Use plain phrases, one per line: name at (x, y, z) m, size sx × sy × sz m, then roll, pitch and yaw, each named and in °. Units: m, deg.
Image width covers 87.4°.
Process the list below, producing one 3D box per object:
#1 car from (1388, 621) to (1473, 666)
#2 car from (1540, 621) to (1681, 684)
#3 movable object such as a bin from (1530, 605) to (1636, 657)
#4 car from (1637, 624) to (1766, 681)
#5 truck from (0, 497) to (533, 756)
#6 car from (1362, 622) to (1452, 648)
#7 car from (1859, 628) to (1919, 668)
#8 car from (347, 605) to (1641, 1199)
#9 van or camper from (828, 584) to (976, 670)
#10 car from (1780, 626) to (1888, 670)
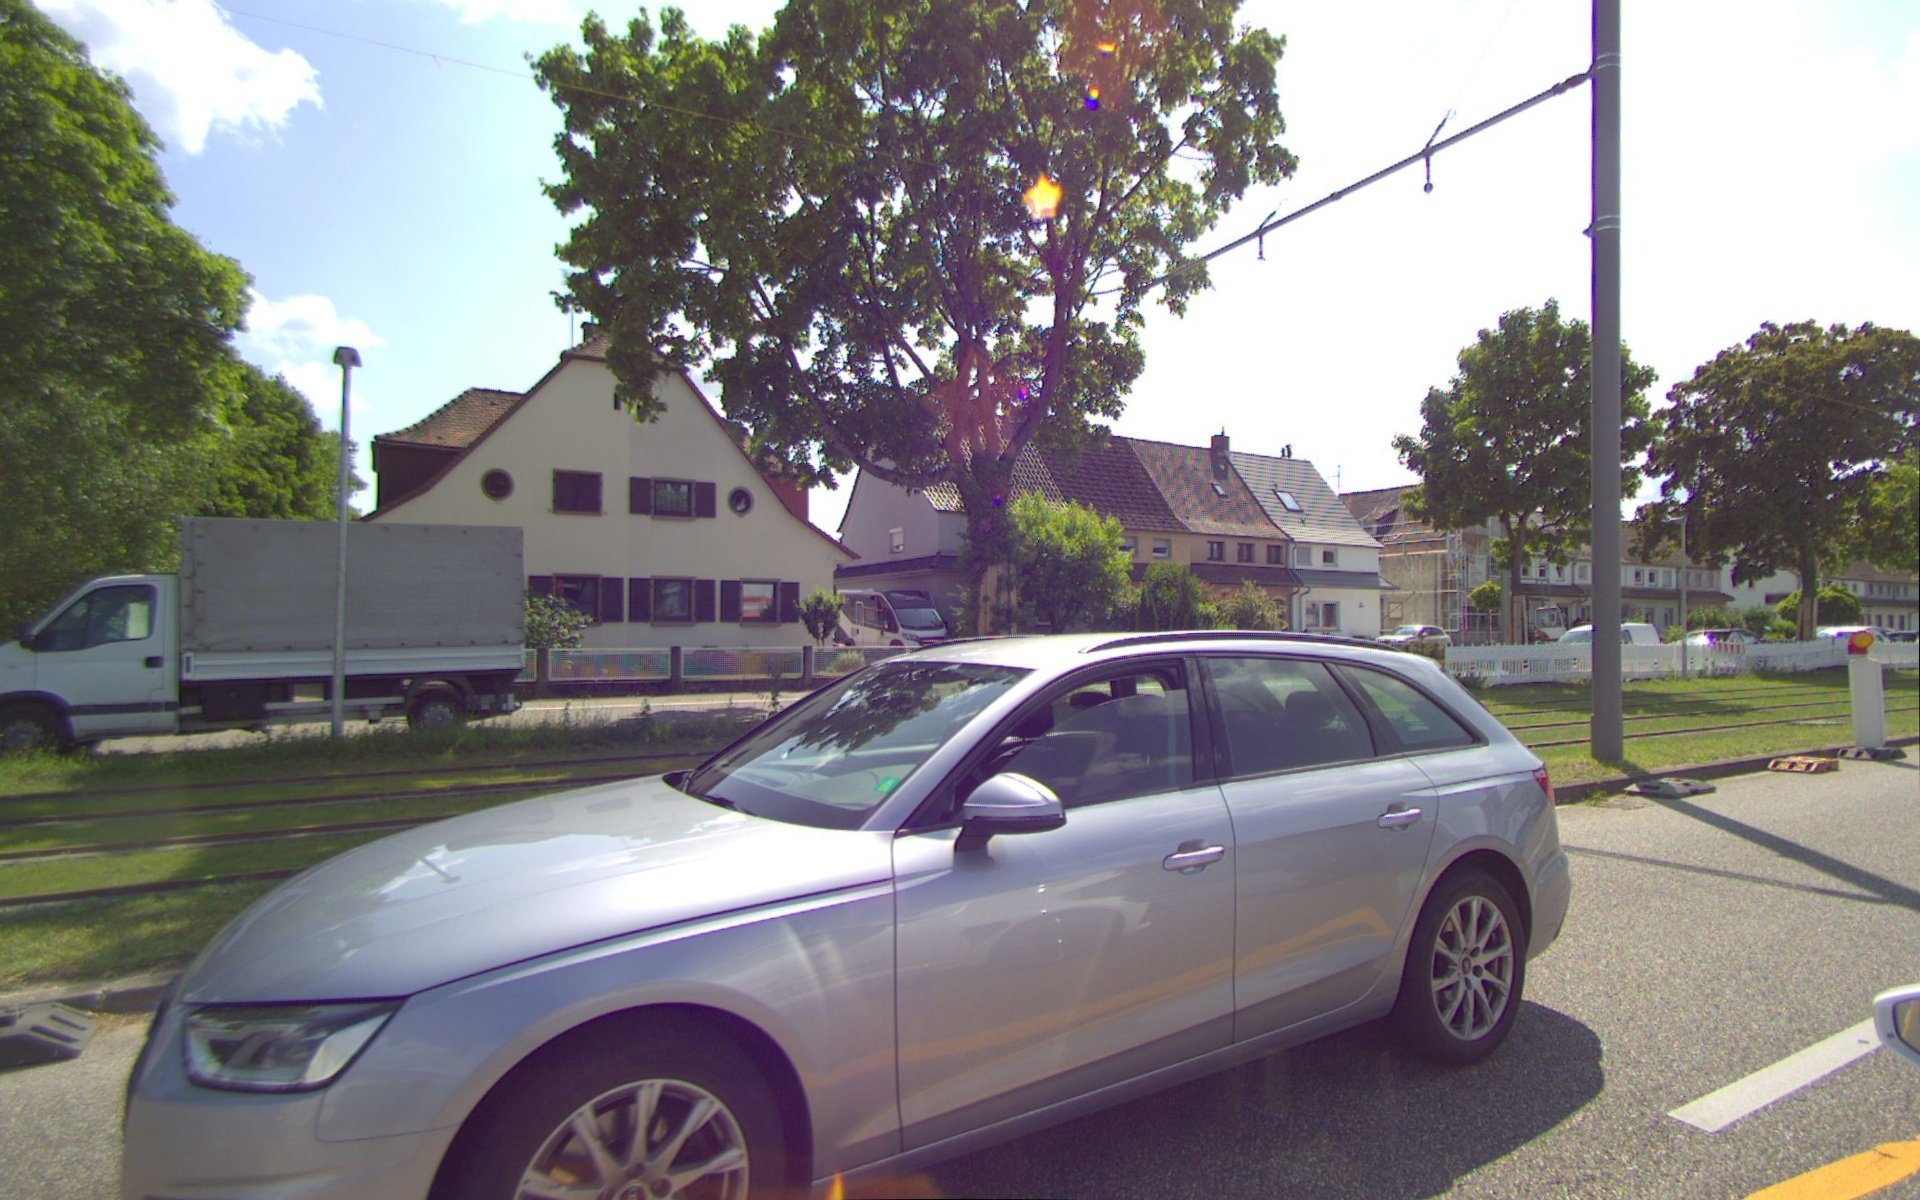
car at (18.820, 1.749, 40.144) m, size 2.995 × 1.744 × 1.677 m, roll 2°, pitch -3°, yaw -30°
car at (19.517, 1.563, 30.110) m, size 3.953 × 1.772 × 1.984 m, roll 2°, pitch -3°, yaw -30°
movable object such as a bin at (30.841, 1.538, 49.769) m, size 4.283 × 2.482 × 1.781 m, roll -1°, pitch -2°, yaw 39°
car at (24.191, 1.708, 32.757) m, size 3.953 × 1.772 × 1.984 m, roll 2°, pitch -3°, yaw -30°
truck at (-8.924, 0.378, 12.831) m, size 6.203 × 2.803 × 1.985 m, roll 1°, pitch -4°, yaw -31°
car at (19.808, 1.576, 44.451) m, size 3.934 × 1.066 × 1.677 m, roll 2°, pitch -3°, yaw -30°
car at (40.217, 2.054, 42.601) m, size 3.953 × 1.627 × 1.984 m, roll 2°, pitch -3°, yaw -30°
car at (0.395, 0.803, 3.449) m, size 4.255 × 1.466 × 1.646 m, roll 1°, pitch -2°, yaw -32°
van or camper at (-2.255, 0.892, 36.653) m, size 2.672 × 2.675 × 6.055 m, roll 2°, pitch 1°, yaw -33°
car at (33.723, 1.845, 38.741) m, size 3.953 × 1.627 × 1.984 m, roll 2°, pitch -3°, yaw -30°
